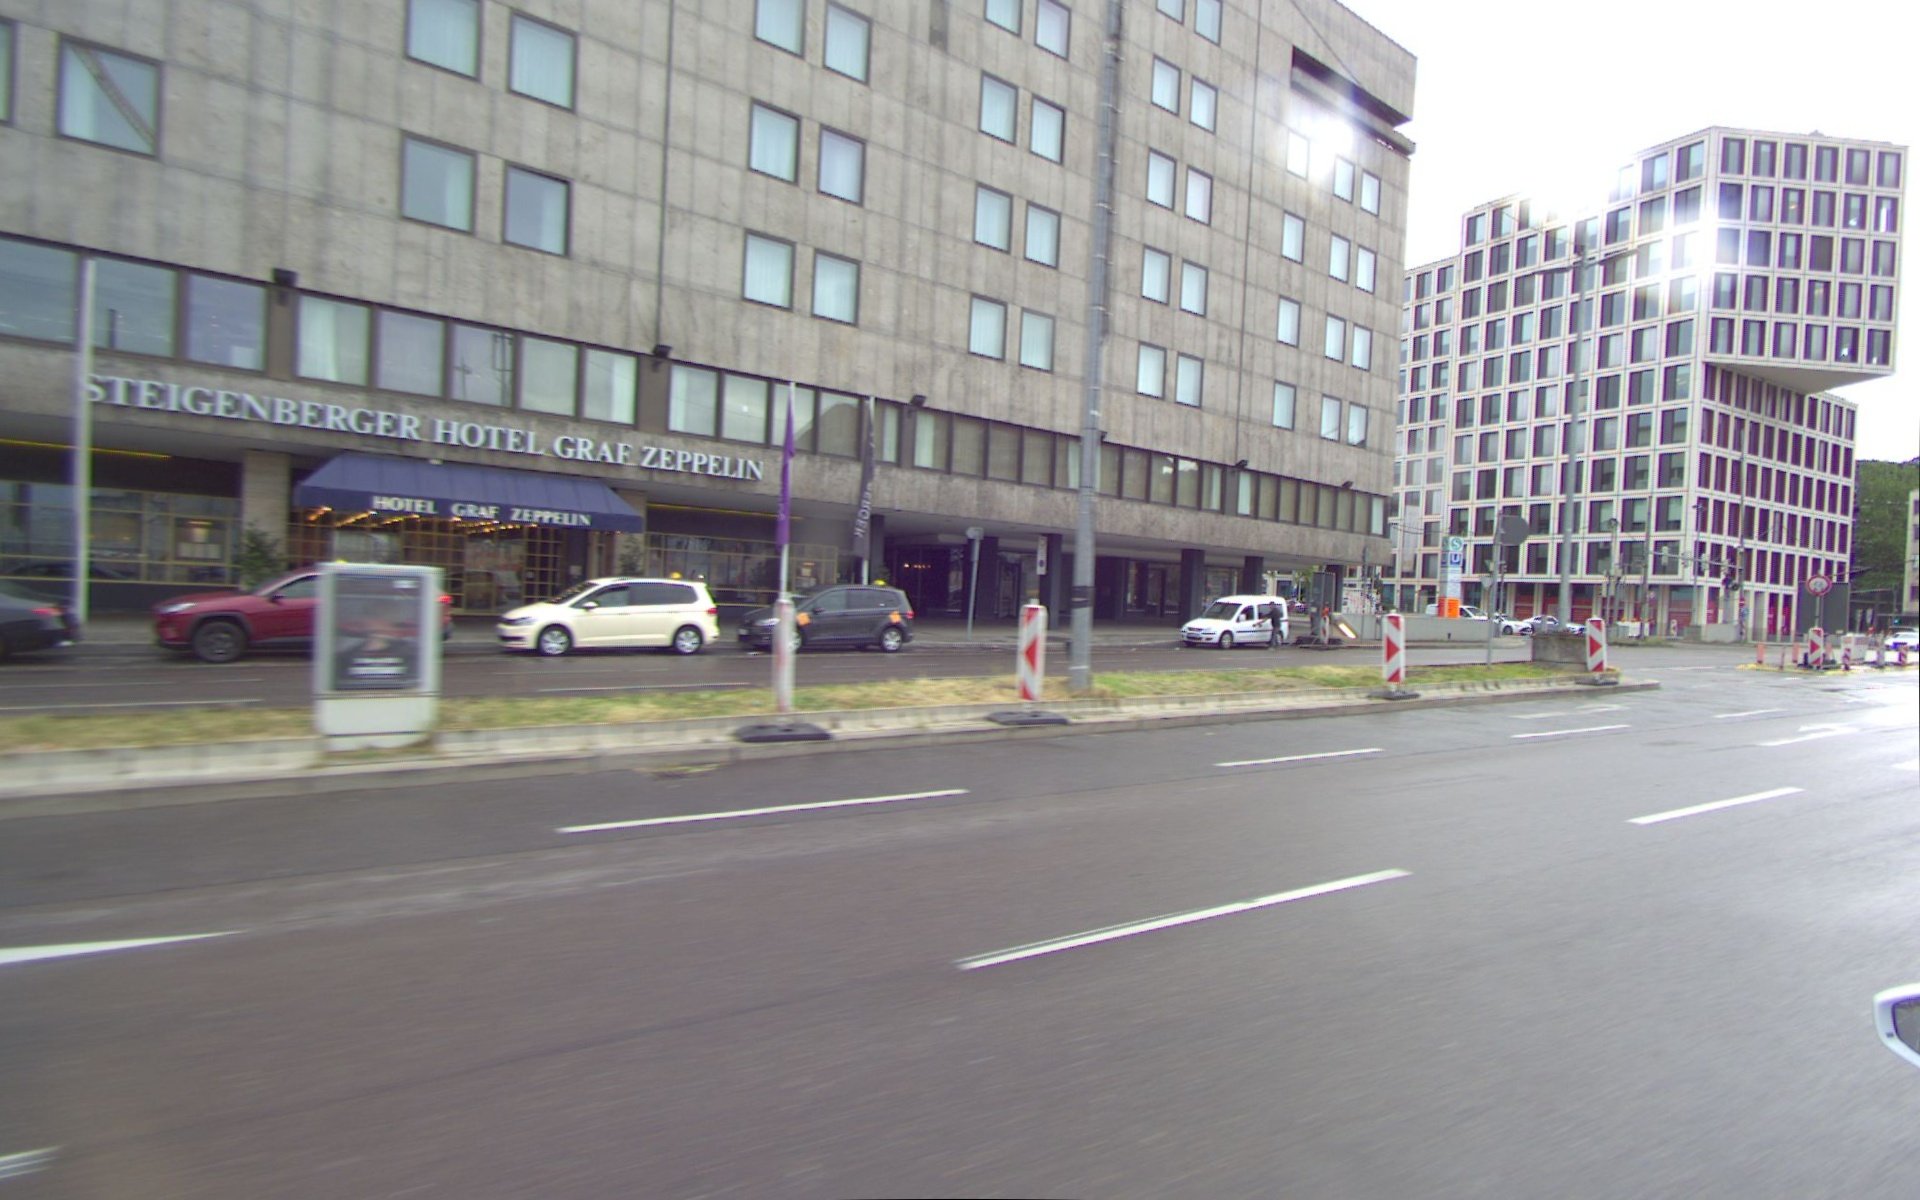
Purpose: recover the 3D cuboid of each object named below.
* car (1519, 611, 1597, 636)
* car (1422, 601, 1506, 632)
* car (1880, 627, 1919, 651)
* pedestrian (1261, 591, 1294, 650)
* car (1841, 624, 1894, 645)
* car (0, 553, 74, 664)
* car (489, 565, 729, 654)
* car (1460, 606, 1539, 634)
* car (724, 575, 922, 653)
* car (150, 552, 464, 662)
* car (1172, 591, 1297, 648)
[{"bbox_3d":[44.013,1.722,74.085,1.990,1.620,4.636,2,0,-23],"label":"car"},{"bbox_3d":[35.116,1.131,70.171,2.060,1.930,5.052,2,0,-25],"label":"car"},{"bbox_3d":[73.564,3.024,77.883,4.762,1.776,2.209,2,0,-34],"label":"car"},{"bbox_3d":[10.583,0.677,33.484,0.788,1.911,0.686,1,1,-37],"label":"pedestrian"},{"bbox_3d":[88.179,3.300,97.629,1.769,1.840,4.002,2,1,7],"label":"car"},{"bbox_3d":[-16.369,0.079,14.952,4.572,1.682,1.889,1,1,-36],"label":"car"},{"bbox_3d":[-7.456,0.224,21.550,4.534,1.720,1.803,2,0,-36],"label":"car"},{"bbox_3d":[38.265,1.387,71.335,1.993,1.761,4.629,2,0,-28],"label":"car"},{"bbox_3d":[-3.308,0.364,24.664,4.468,1.751,1.804,2,0,-34],"label":"car"},{"bbox_3d":[-11.790,0.161,18.439,4.599,1.791,1.890,2,0,-34],"label":"car"},{"bbox_3d":[9.334,0.678,34.077,4.330,1.786,1.761,2,1,-37],"label":"car"}]
